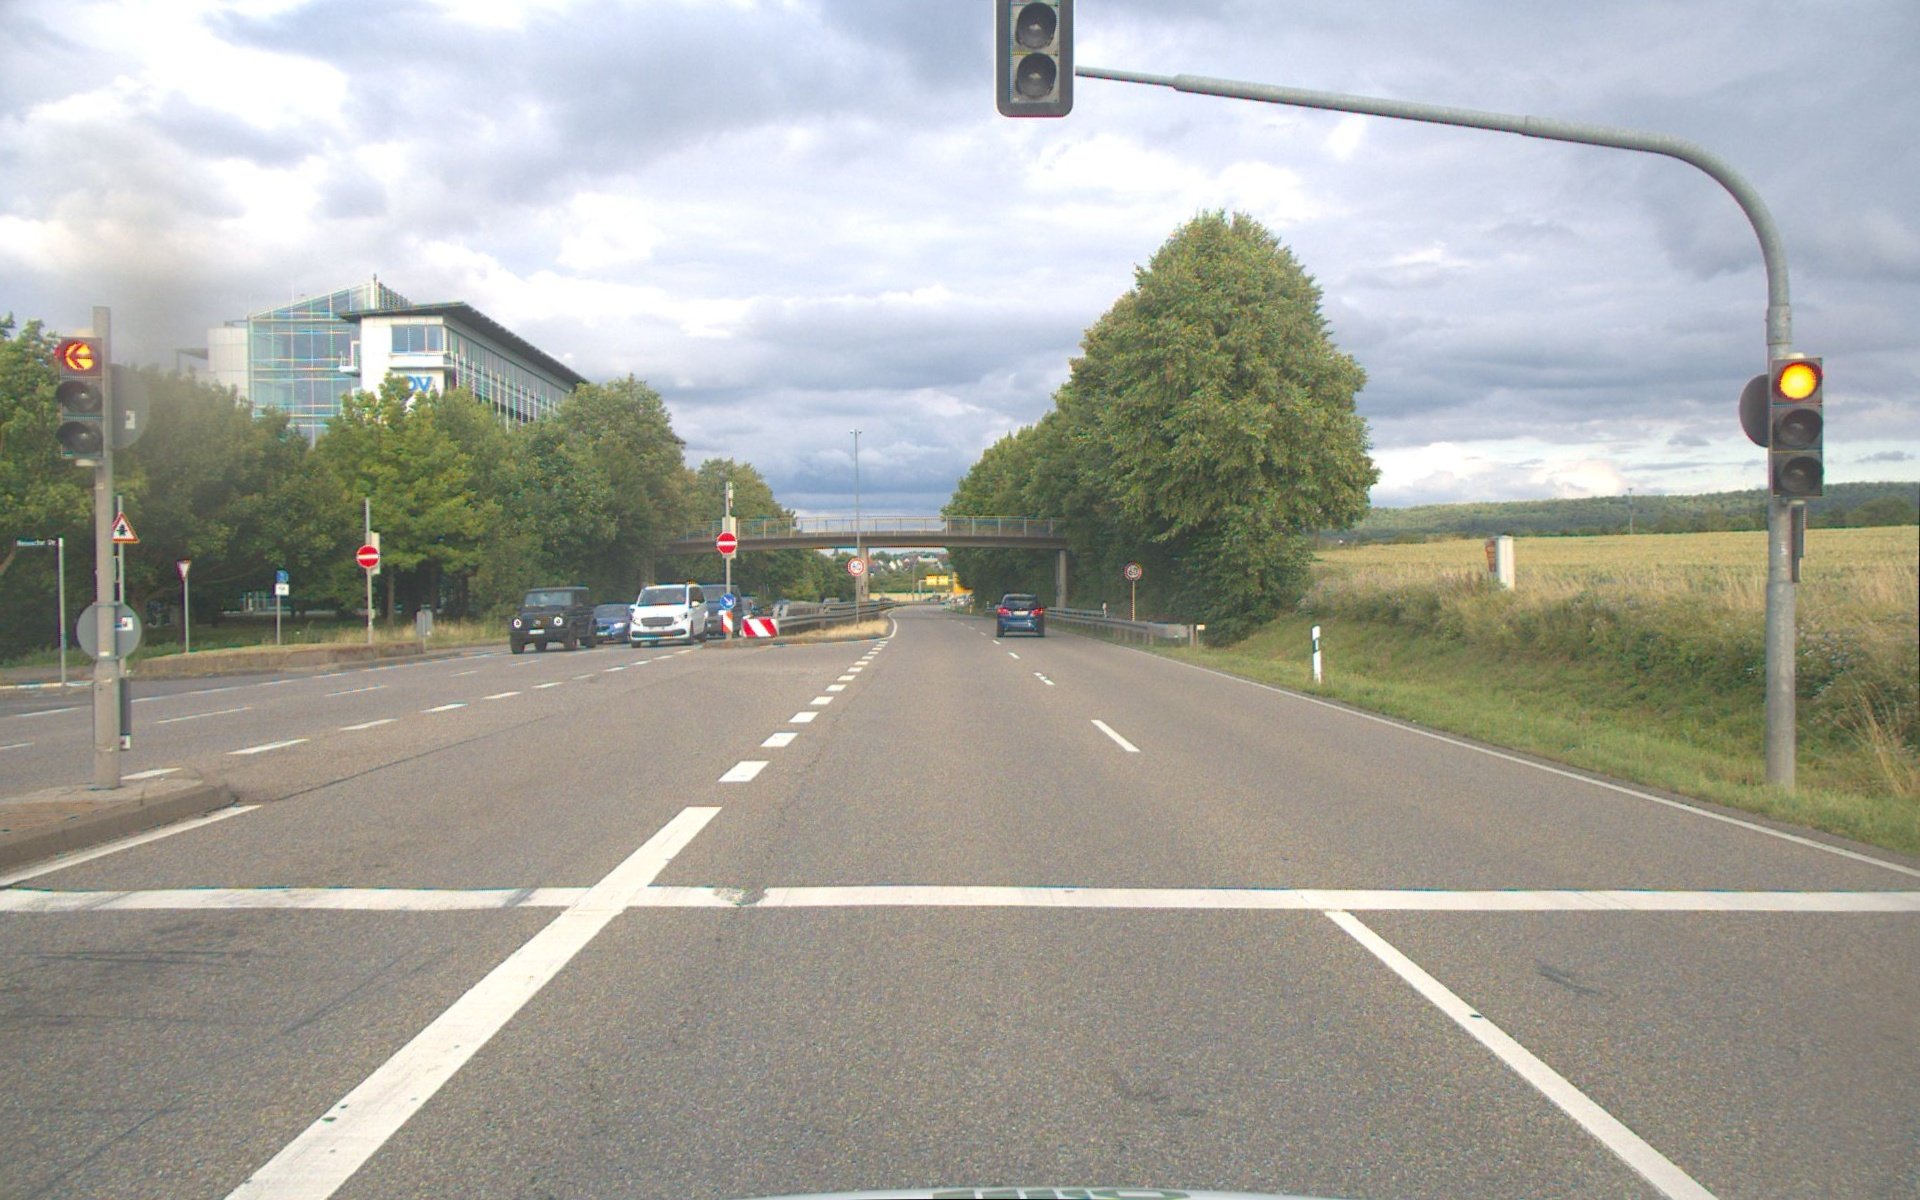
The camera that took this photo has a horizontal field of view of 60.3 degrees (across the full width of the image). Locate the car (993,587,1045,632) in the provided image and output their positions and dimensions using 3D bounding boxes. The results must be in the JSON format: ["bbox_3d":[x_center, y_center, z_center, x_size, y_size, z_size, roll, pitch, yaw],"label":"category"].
[{"bbox_3d":[2.167,0.344,61.330,1.841,1.579,4.001,1,0,1],"label":"car"}]

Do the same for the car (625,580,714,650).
[{"bbox_3d":[-9.173,0.462,52.554,2.041,2.049,5.214,1,0,-2],"label":"car"}]

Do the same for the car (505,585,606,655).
[{"bbox_3d":[-12.733,0.607,52.387,2.041,2.049,5.214,1,0,-2],"label":"car"}]

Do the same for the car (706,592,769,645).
[{"bbox_3d":[-9.077,0.733,67.856,2.041,2.049,5.214,1,0,-2],"label":"car"}]

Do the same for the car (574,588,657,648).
[{"bbox_3d":[-12.400,0.641,59.892,2.041,2.049,5.214,1,0,-2],"label":"car"}]

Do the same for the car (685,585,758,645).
[{"bbox_3d":[-8.636,0.544,60.299,2.041,2.049,5.214,1,0,-2],"label":"car"}]

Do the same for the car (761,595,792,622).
[{"bbox_3d":[-14.675,0.656,132.270,2.041,2.049,5.214,1,0,-2],"label":"car"}]
